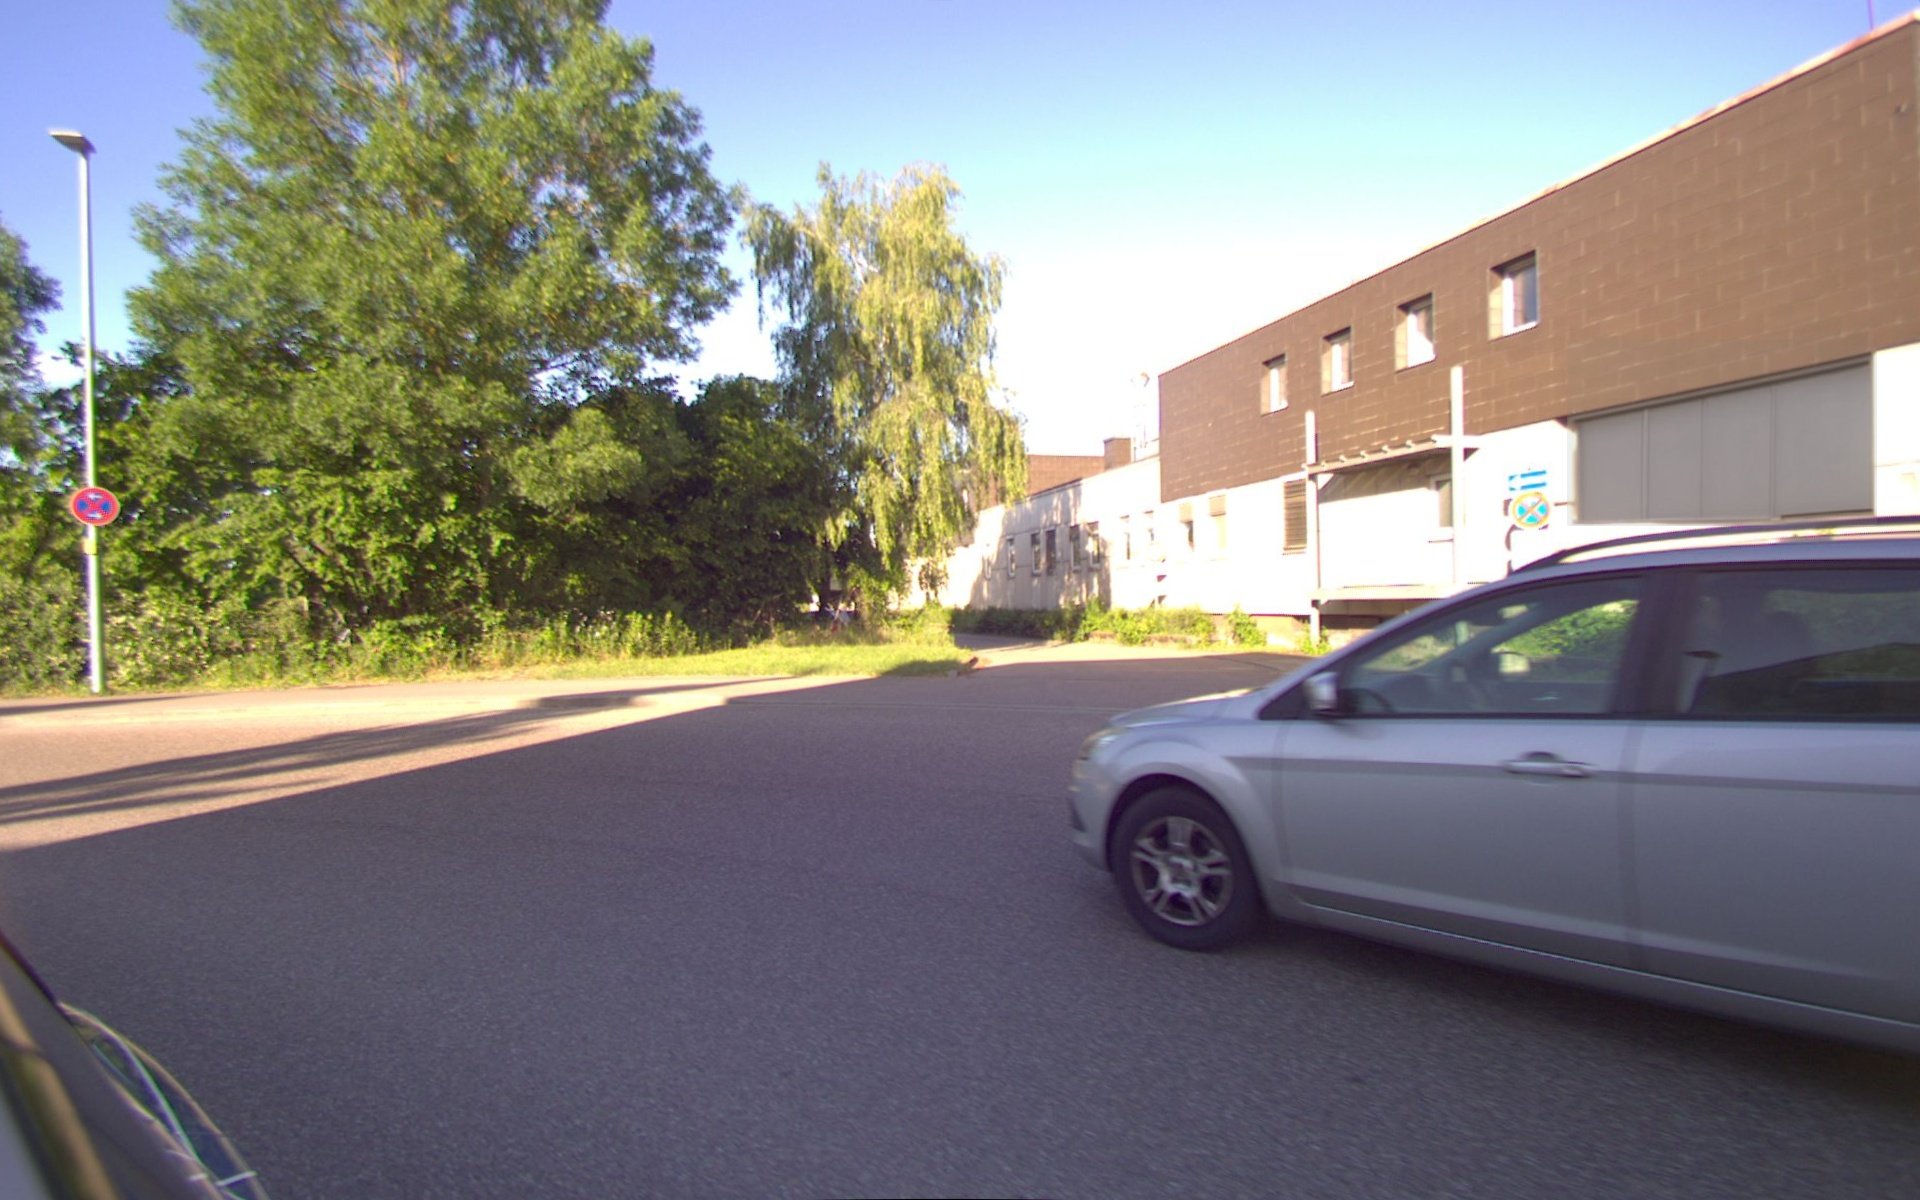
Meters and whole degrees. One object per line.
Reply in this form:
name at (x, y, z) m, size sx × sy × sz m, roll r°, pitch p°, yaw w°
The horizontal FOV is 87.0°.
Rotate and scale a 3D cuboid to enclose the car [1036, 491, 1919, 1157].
car at (2.469, 0.506, 3.273) m, size 1.718 × 1.516 × 4.508 m, roll -1°, pitch 0°, yaw -41°
